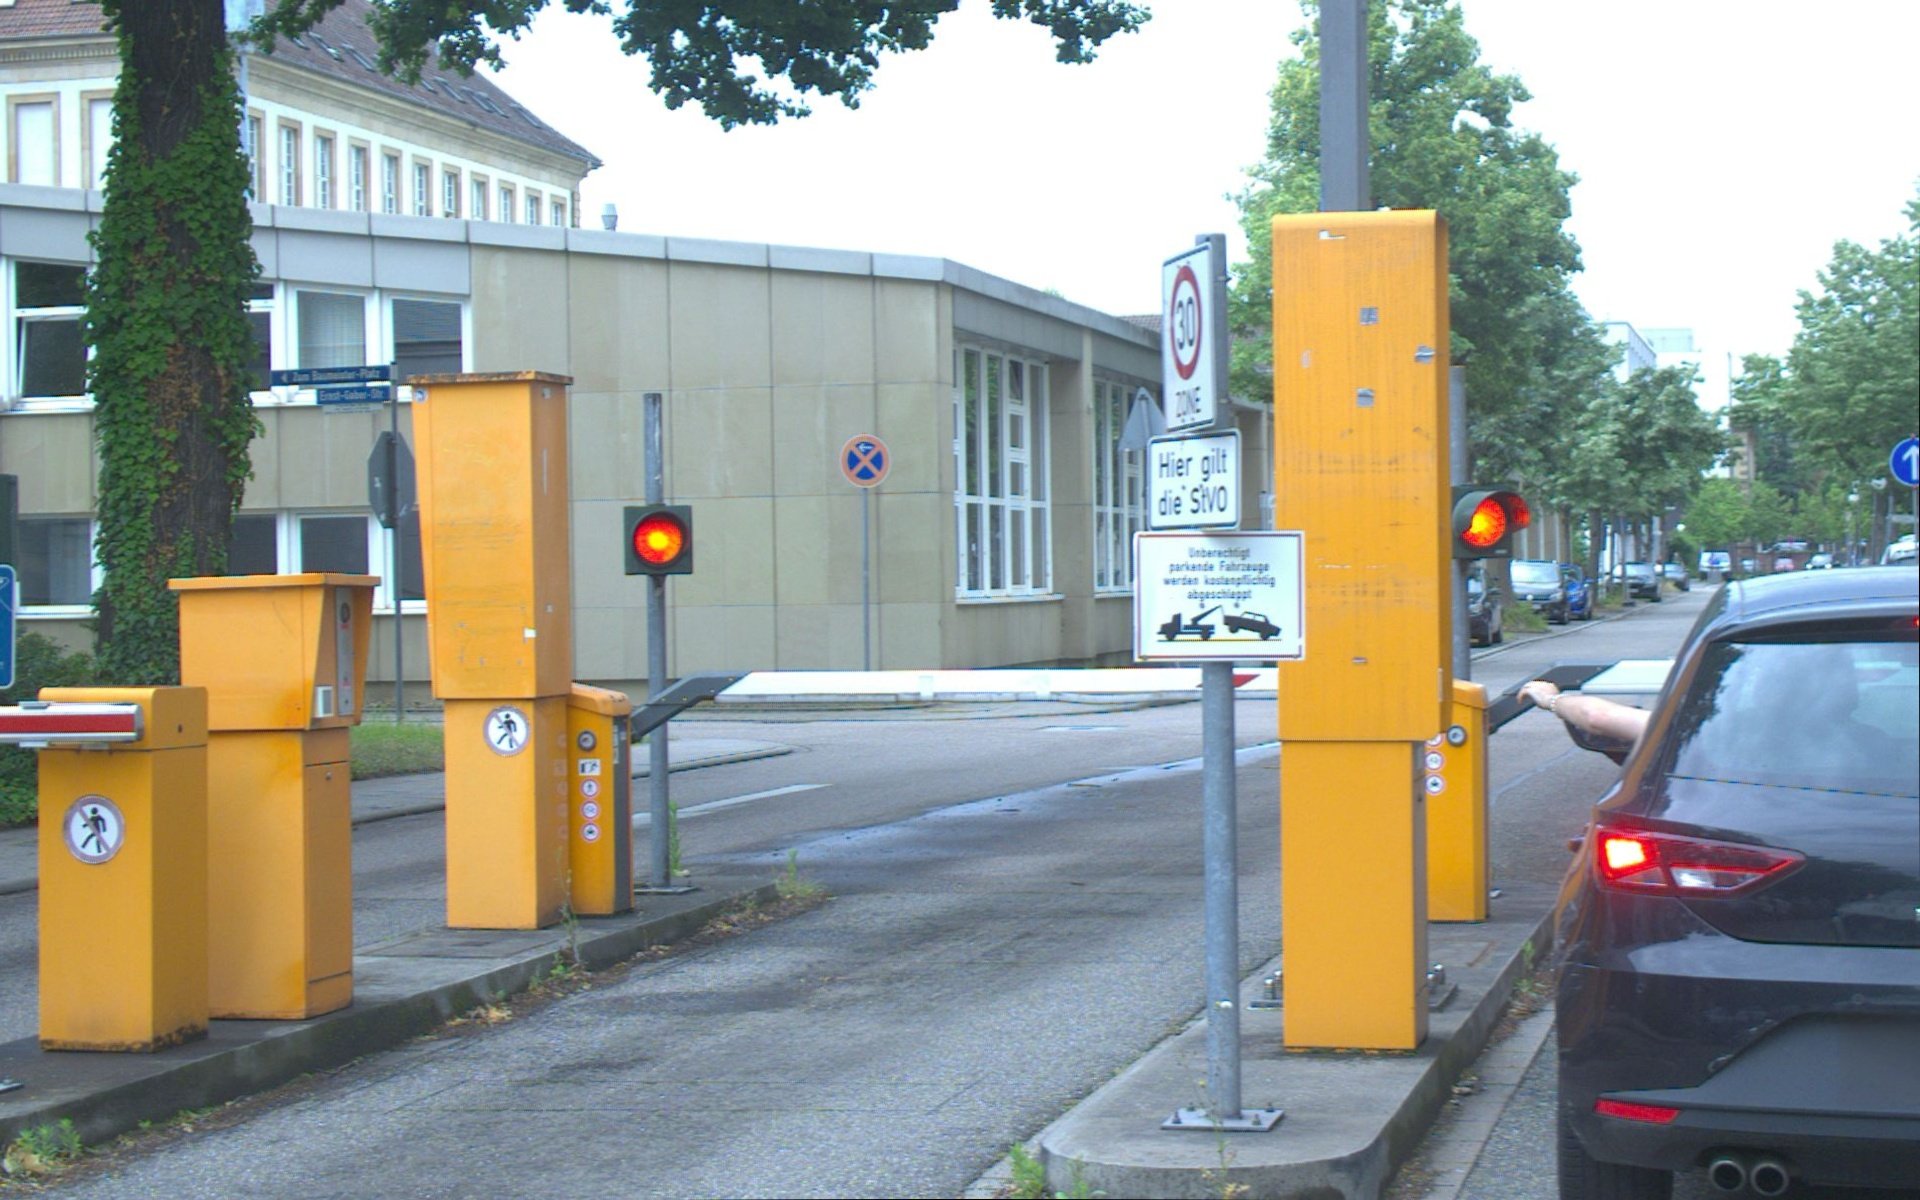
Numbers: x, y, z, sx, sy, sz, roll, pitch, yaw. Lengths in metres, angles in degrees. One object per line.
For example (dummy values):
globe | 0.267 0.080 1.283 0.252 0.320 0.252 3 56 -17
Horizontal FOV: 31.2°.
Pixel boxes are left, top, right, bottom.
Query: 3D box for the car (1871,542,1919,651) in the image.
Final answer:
car | 15.369 -0.110 53.895 1.995 1.617 4.425 -2 0 14

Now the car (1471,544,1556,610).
car | 13.793 -0.599 85.547 1.771 1.595 3.998 0 1 14

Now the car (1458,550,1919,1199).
car | 2.292 0.591 8.301 1.783 1.414 4.127 0 1 13

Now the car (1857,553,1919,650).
car | 18.390 -0.015 66.271 1.995 1.776 4.425 -2 0 14

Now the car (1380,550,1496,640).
car | 8.835 -0.117 63.307 1.771 1.595 3.998 0 1 13

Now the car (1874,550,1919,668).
car | 14.274 0.100 49.505 1.995 1.617 4.425 -2 0 13

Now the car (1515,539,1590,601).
car | 15.654 -0.793 90.744 1.771 1.595 3.998 0 1 12
